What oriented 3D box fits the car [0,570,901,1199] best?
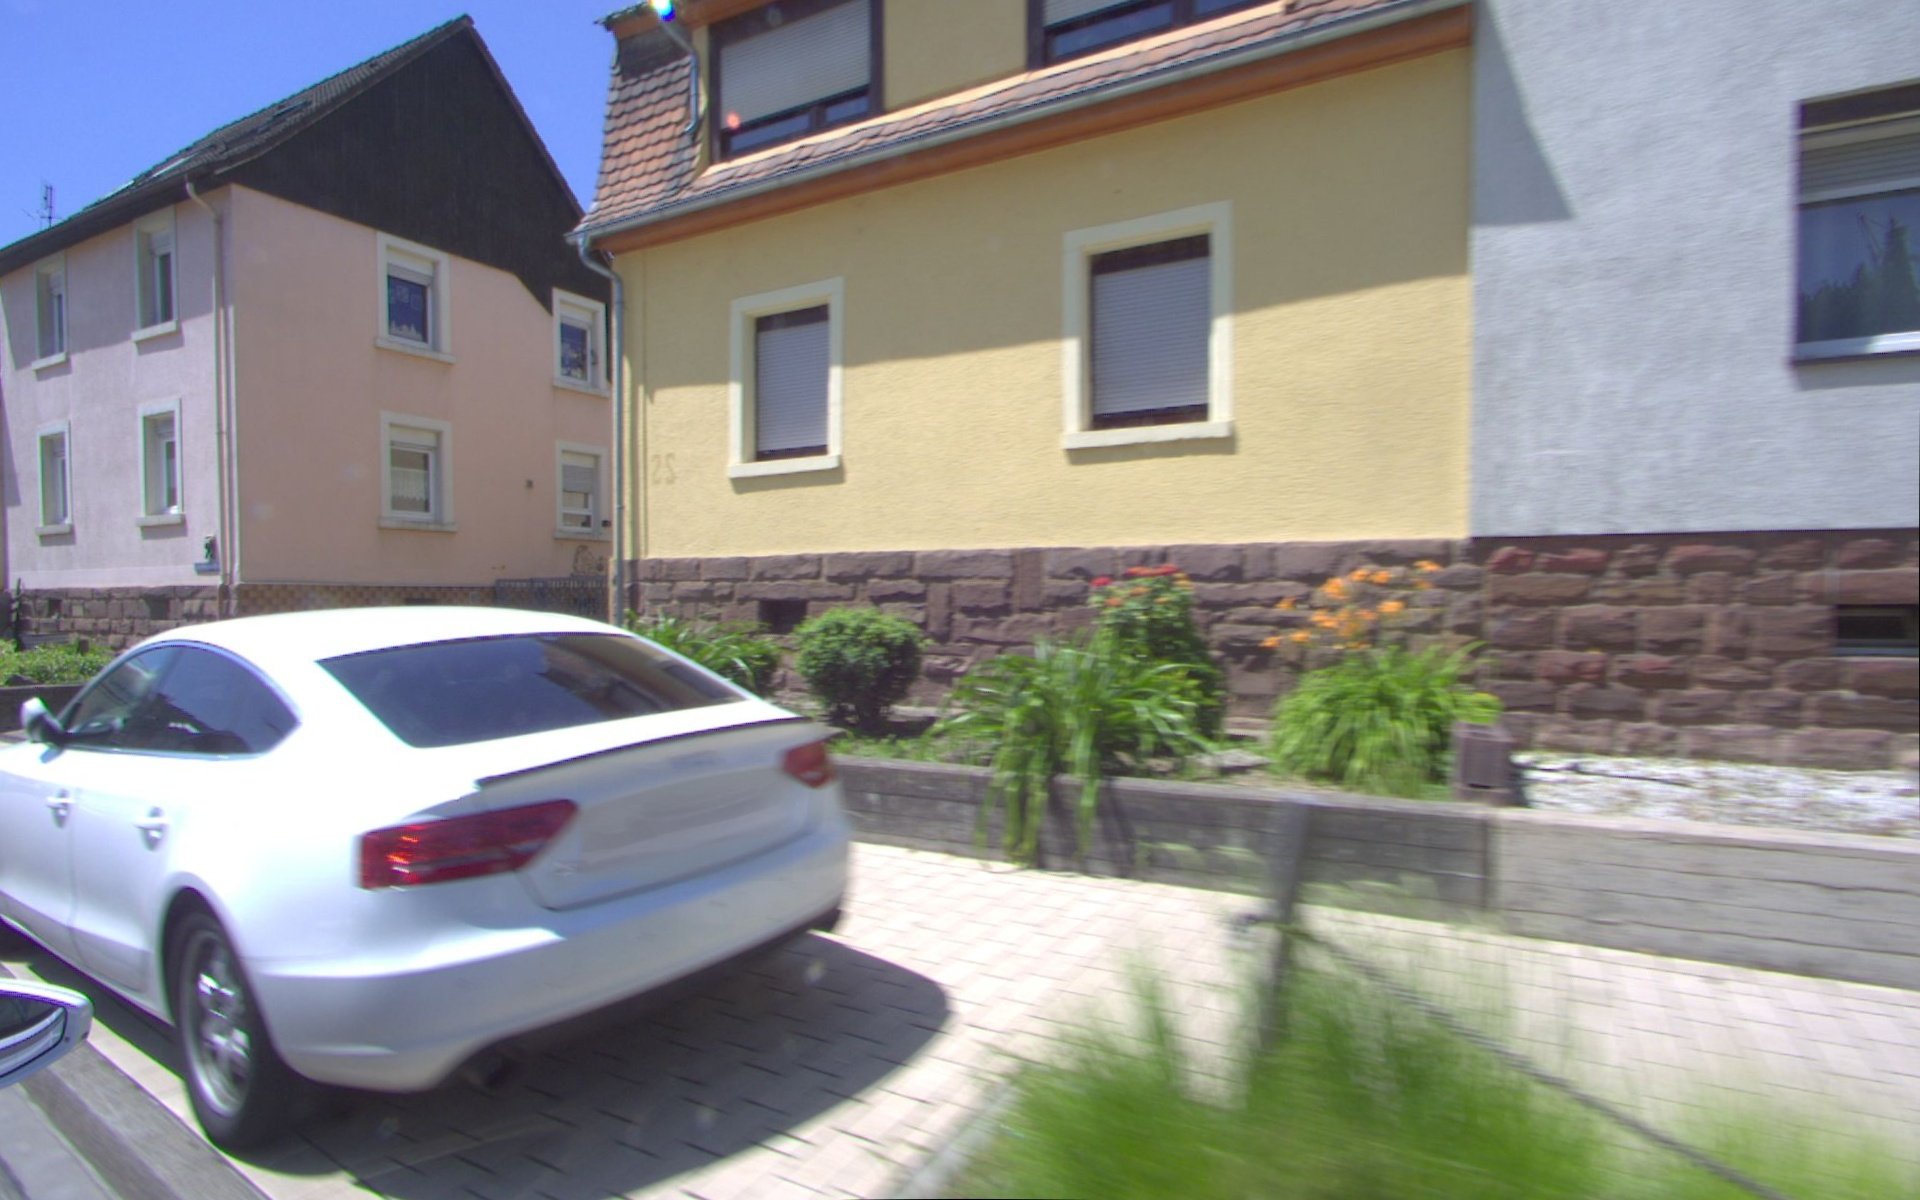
[{"bbox_3d":[-2.567,0.710,3.997,4.573,1.437,1.750,-2,1,37],"label":"car"}]
